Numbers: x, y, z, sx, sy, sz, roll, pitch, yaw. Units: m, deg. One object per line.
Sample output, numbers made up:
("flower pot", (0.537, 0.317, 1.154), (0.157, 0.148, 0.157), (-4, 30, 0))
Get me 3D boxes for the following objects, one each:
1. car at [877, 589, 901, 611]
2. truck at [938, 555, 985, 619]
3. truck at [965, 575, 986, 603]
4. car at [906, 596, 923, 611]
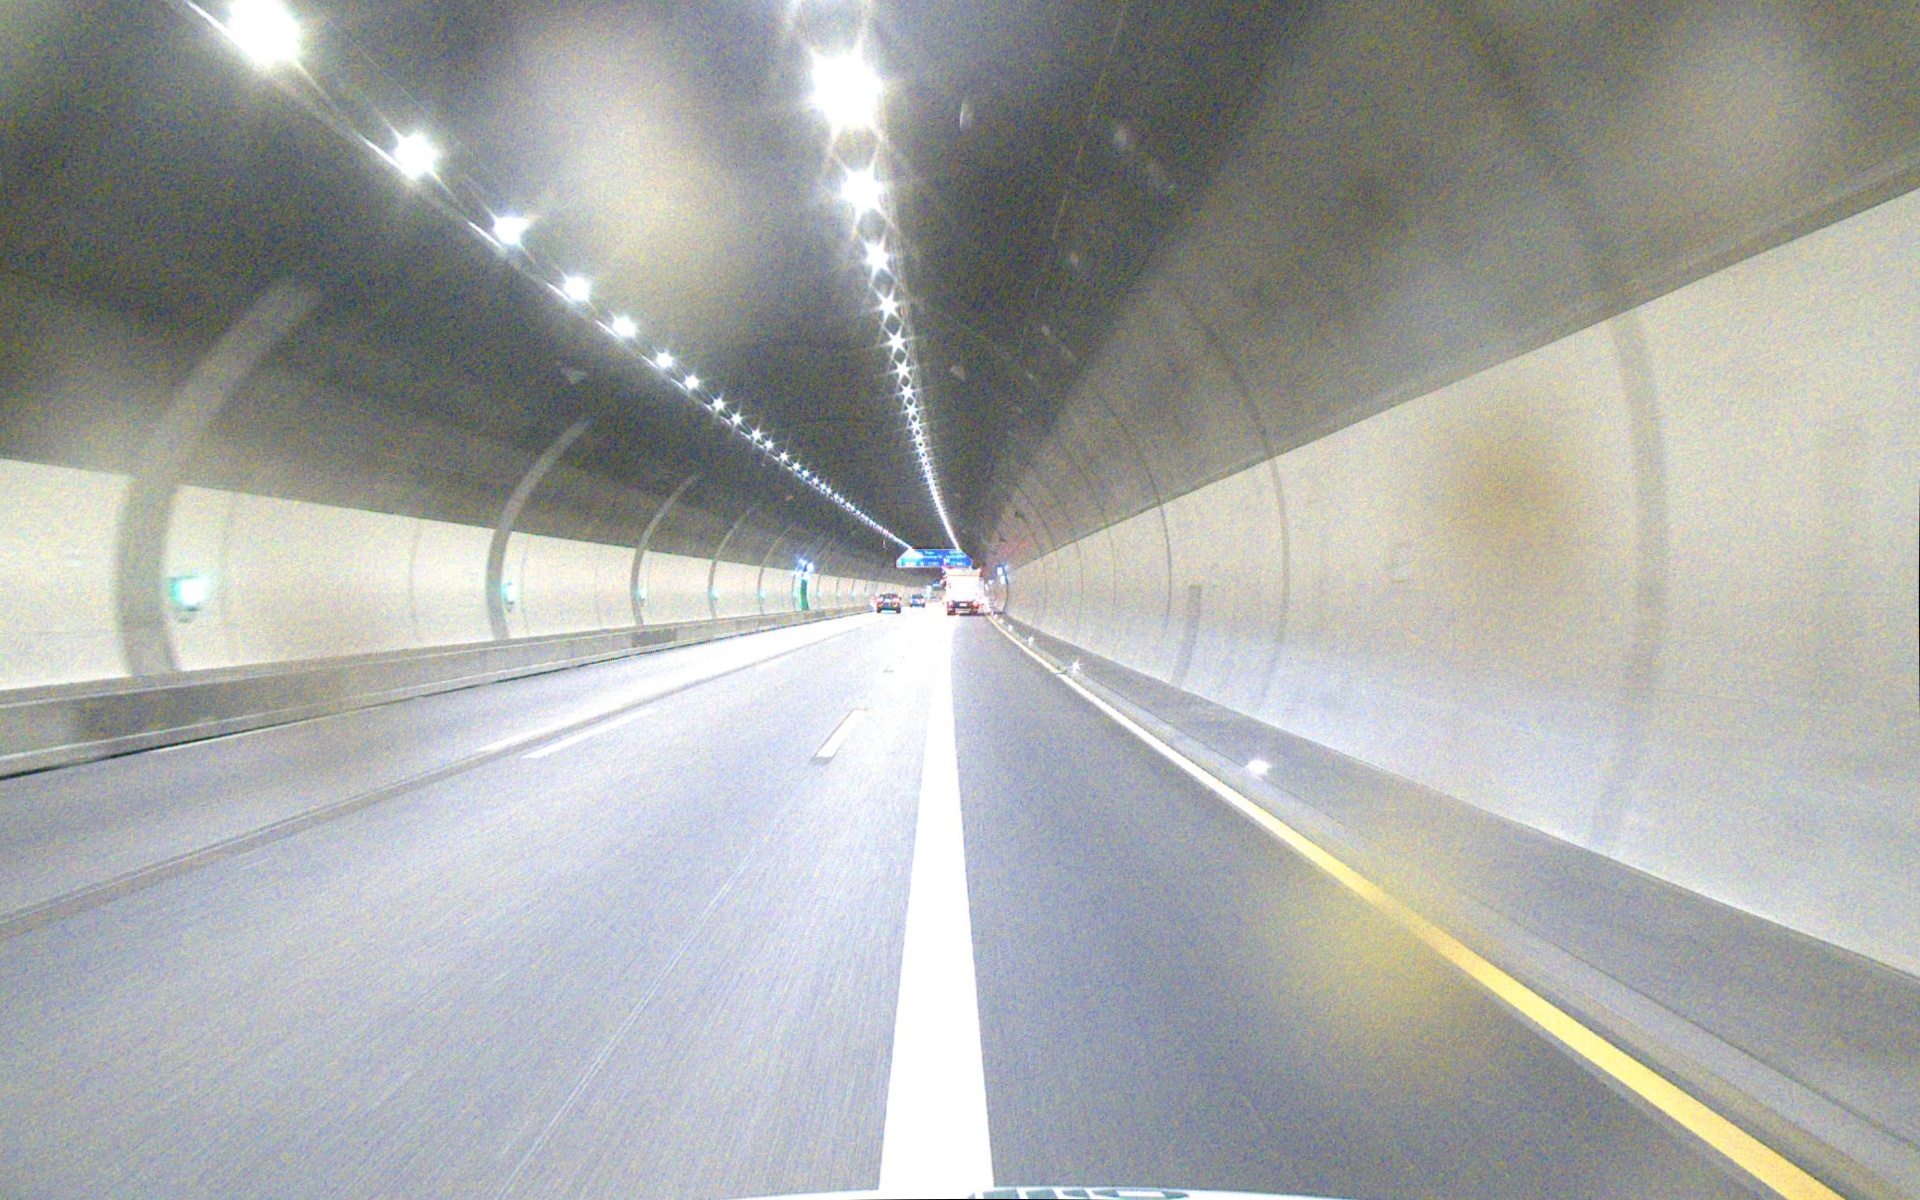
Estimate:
("car", (-5.547, -0.046, 128.829), (1.776, 1.646, 3.999), (1, 0, -2))
("truck", (0.004, -1.001, 131.494), (3.212, 4.731, 17.281), (-1, 0, -1))
("truck", (2.305, -1.674, 249.278), (2.863, 4.118, 14.026), (-1, 0, -1))
("car", (-5.101, 0.361, 183.864), (1.776, 1.546, 3.998), (1, 2, -3))
